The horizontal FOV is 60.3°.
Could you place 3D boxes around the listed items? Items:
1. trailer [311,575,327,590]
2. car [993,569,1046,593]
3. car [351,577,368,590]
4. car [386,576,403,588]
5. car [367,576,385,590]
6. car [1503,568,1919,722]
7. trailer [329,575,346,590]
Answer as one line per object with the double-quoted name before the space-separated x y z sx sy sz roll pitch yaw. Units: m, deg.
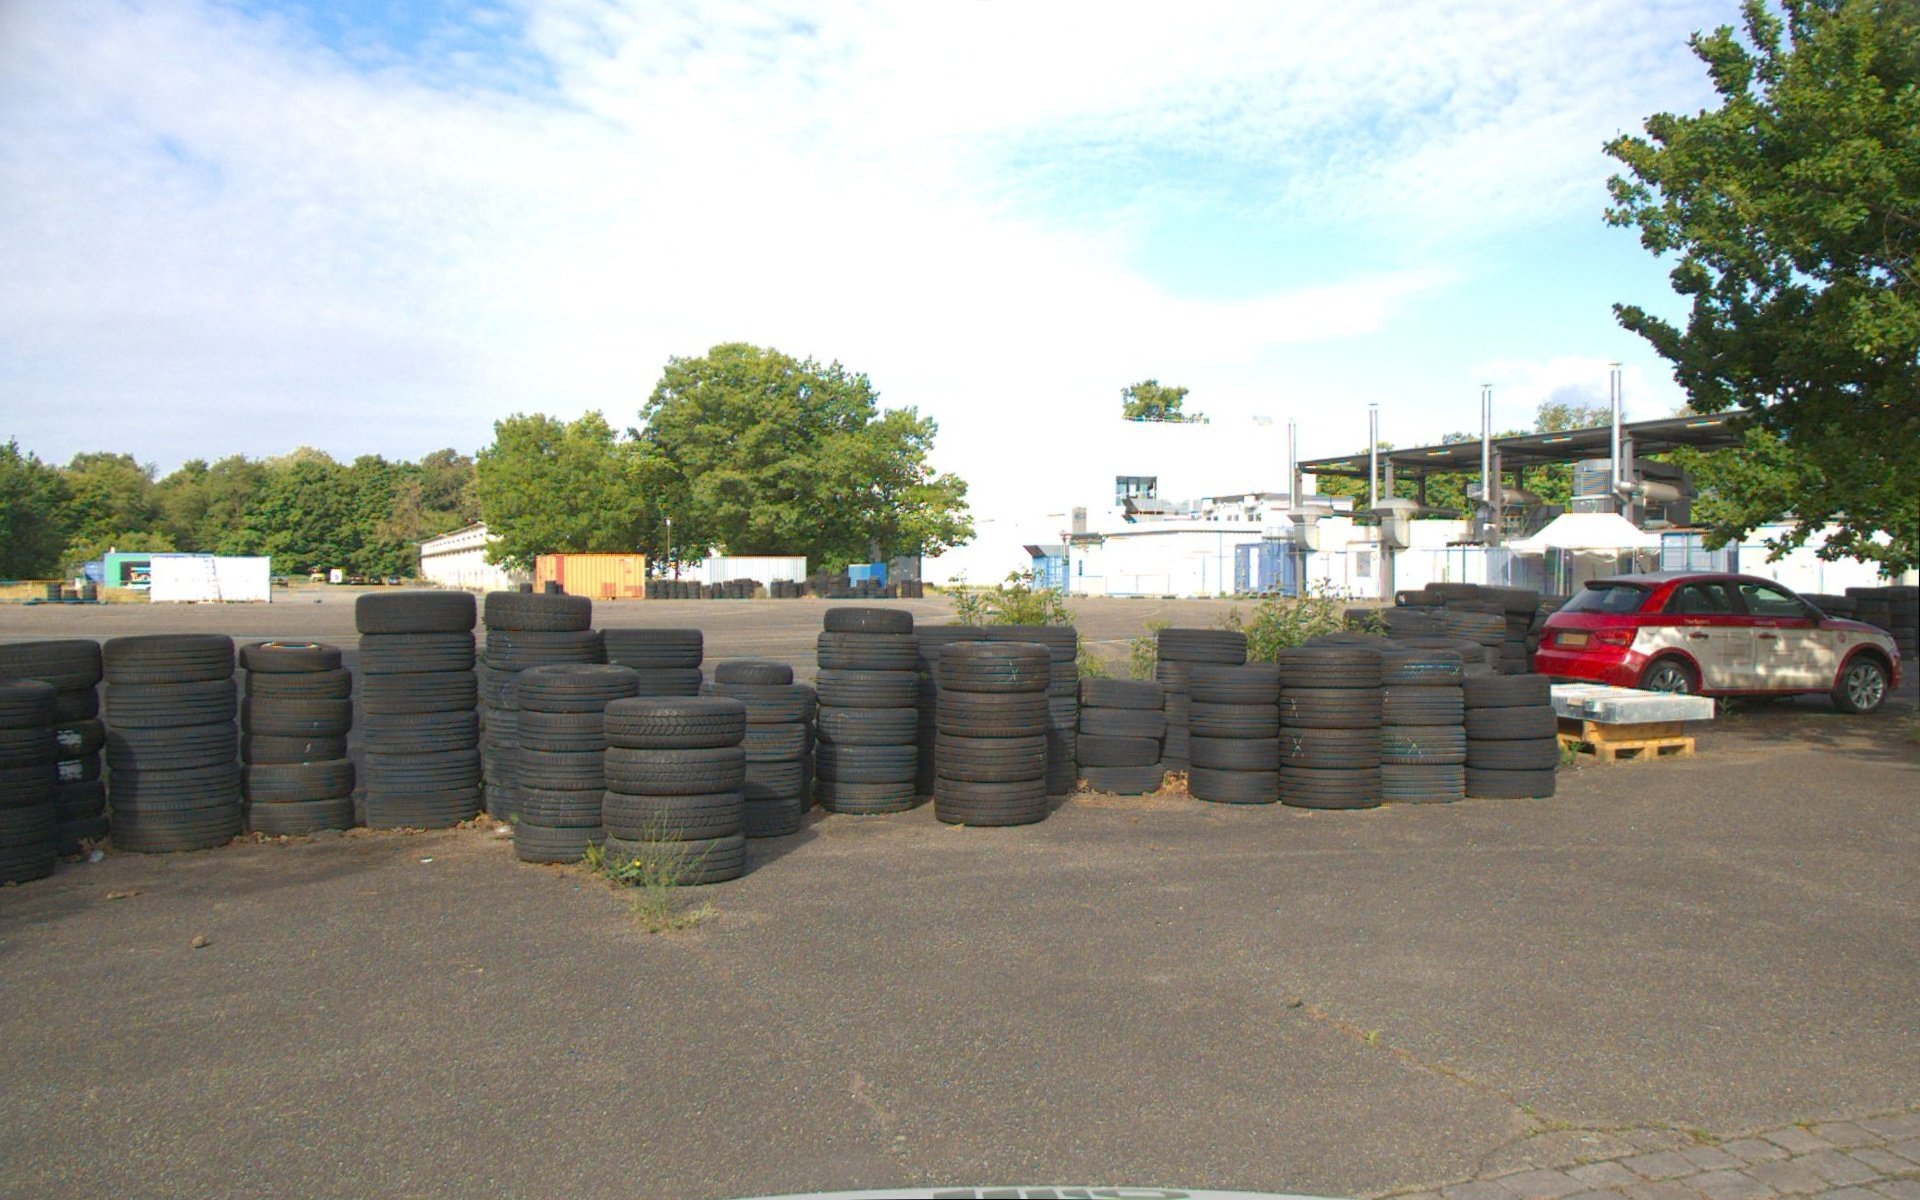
"trailer" -90.390 -2.508 233.145 1.967 2.049 3.971 -1 1 -24
"car" 4.061 -1.311 113.008 1.844 1.592 4.514 -1 1 -24
"car" -84.446 -2.359 232.469 1.968 1.780 3.969 -1 1 -25
"car" -80.156 -2.555 234.508 1.968 1.780 3.969 -1 1 -25
"car" -82.457 -2.423 233.522 2.005 1.840 3.969 -1 1 -25
"car" 7.937 0.414 17.477 3.922 1.489 1.721 -1 1 -16
"trailer" -87.657 -2.477 232.868 2.030 2.049 3.972 -1 1 -23
